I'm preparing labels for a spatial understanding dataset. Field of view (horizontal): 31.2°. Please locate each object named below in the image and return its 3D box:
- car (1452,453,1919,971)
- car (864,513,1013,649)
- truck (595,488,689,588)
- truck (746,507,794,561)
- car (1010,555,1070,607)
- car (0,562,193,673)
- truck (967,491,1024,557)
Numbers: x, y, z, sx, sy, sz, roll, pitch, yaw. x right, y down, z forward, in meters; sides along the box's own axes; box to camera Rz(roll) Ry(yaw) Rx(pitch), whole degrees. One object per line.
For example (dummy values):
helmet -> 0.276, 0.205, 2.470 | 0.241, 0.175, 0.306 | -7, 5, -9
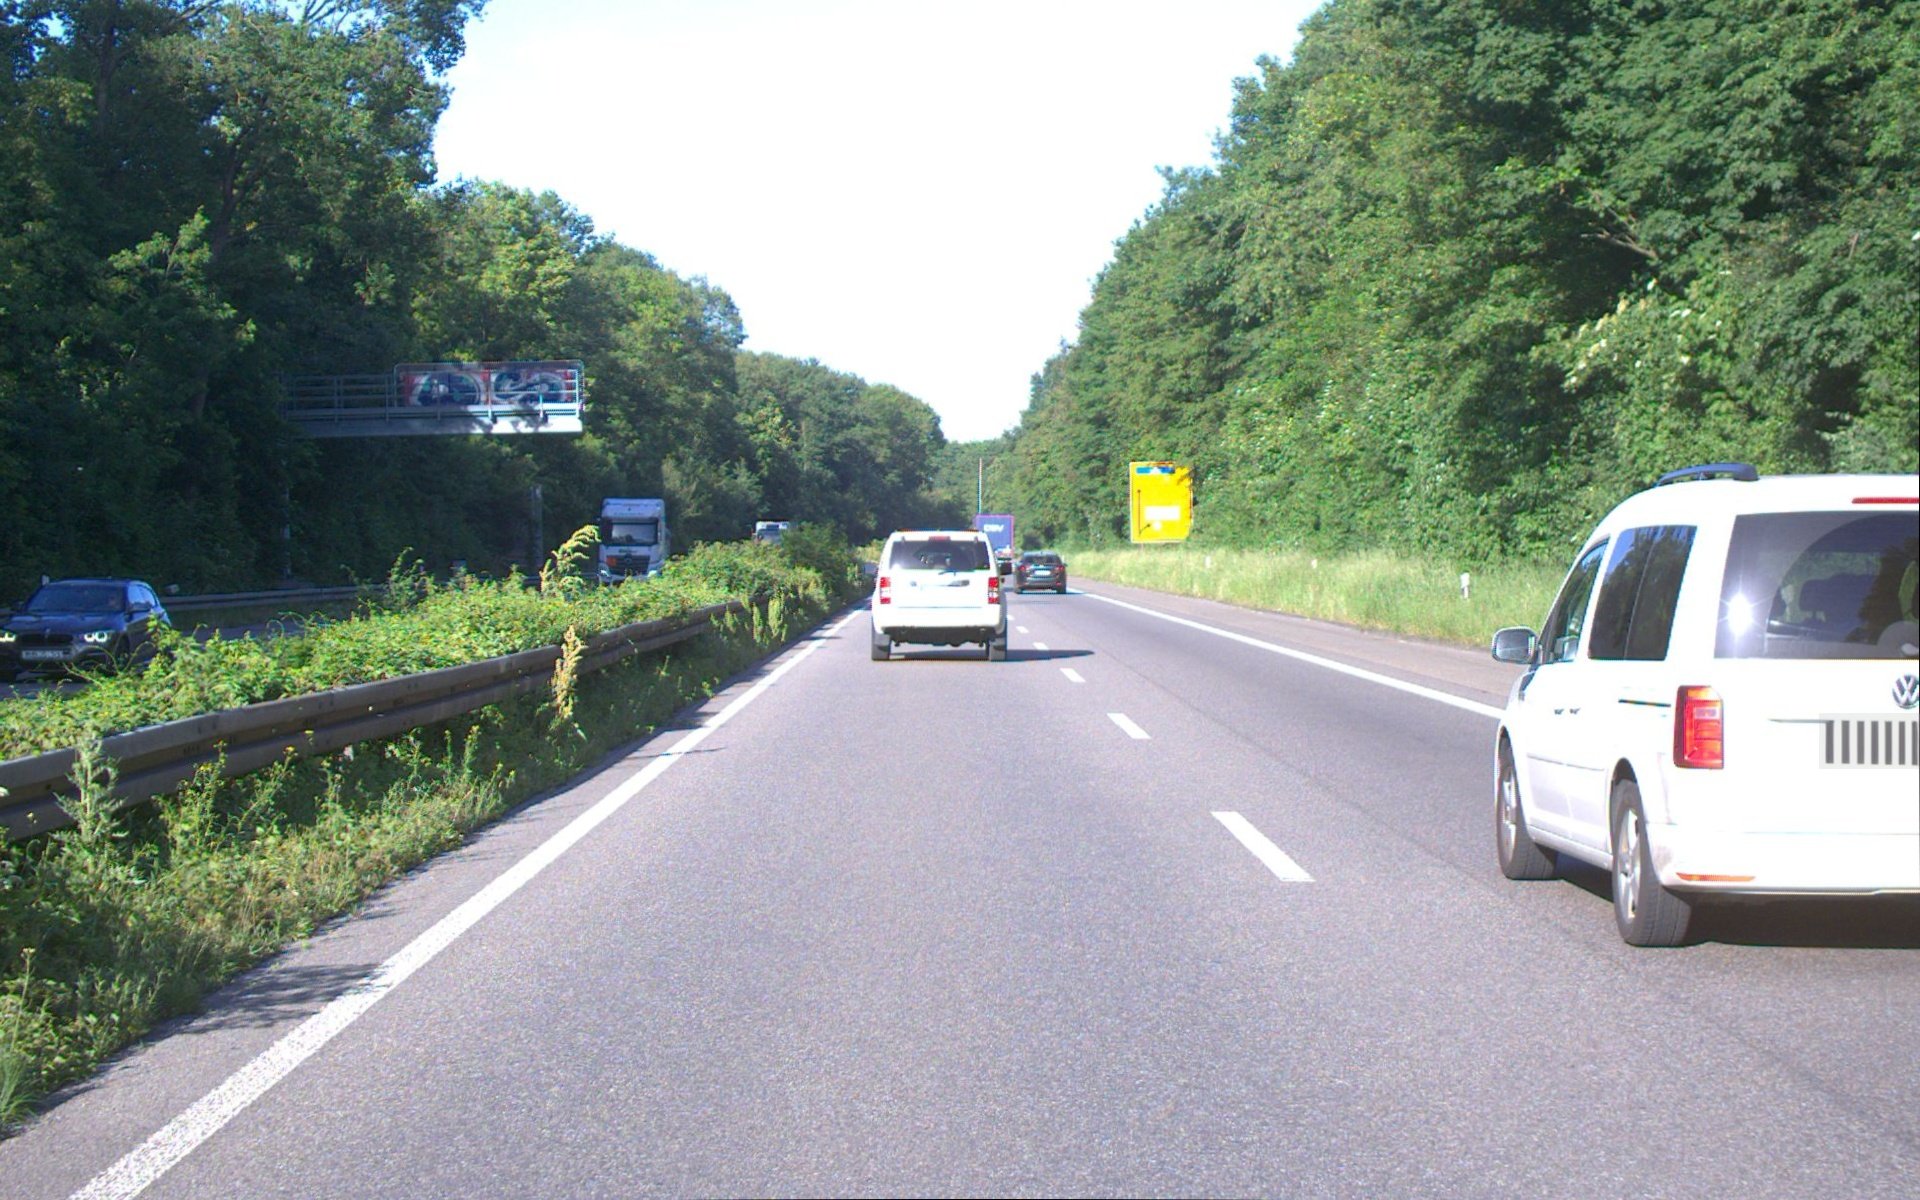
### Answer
car -> 3.322, 0.386, 14.376 | 1.799, 1.807, 4.588 | 1, 0, -1
car -> -0.309, -0.266, 47.768 | 1.951, 1.776, 4.588 | 1, 0, -1
truck -> -13.184, -2.514, 143.375 | 2.769, 3.942, 11.467 | 1, 0, 0
truck -> -14.329, -4.986, 259.445 | 3.228, 3.999, 5.677 | 1, 1, 0
car -> 2.849, -0.677, 122.713 | 1.951, 1.776, 4.588 | 1, 0, -1
car -> -12.216, 0.210, 48.644 | 1.733, 1.404, 4.556 | 1, 1, 0
truck -> 2.377, -5.152, 234.748 | 3.734, 4.328, 9.304 | 1, 0, 0
